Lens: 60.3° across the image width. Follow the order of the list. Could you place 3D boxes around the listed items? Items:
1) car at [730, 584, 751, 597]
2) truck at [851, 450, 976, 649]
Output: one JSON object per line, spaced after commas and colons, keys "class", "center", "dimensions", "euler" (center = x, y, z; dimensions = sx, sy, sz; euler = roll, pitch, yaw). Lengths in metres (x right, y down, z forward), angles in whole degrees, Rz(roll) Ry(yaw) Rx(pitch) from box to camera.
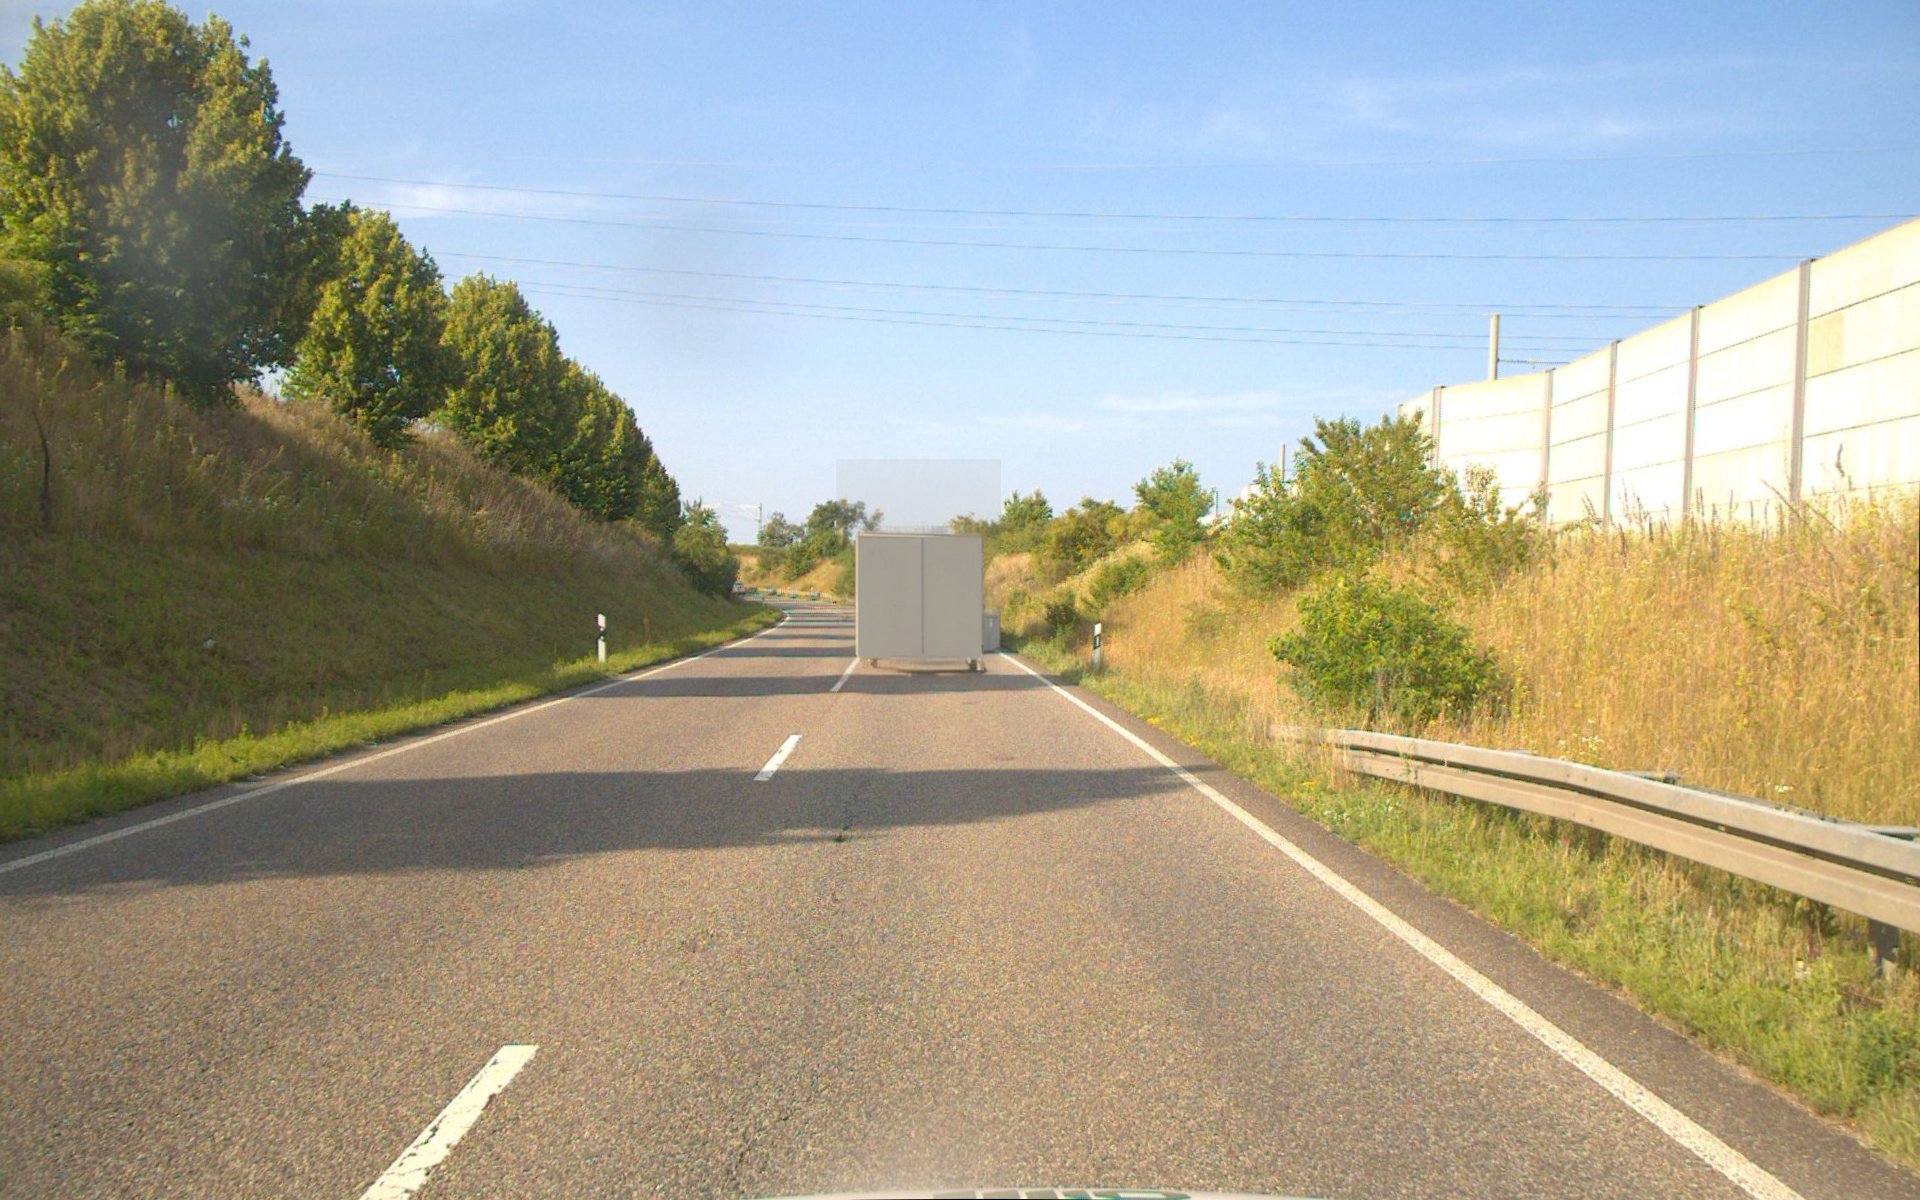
{"class": "car", "center": [-27.731, -1.164, 209.116], "dimensions": [2.004, 1.609, 4.360], "euler": [1, 0, 0]}
{"class": "truck", "center": [-1.377, -1.420, 49.498], "dimensions": [3.224, 5.178, 12.034], "euler": [1, 1, -2]}
